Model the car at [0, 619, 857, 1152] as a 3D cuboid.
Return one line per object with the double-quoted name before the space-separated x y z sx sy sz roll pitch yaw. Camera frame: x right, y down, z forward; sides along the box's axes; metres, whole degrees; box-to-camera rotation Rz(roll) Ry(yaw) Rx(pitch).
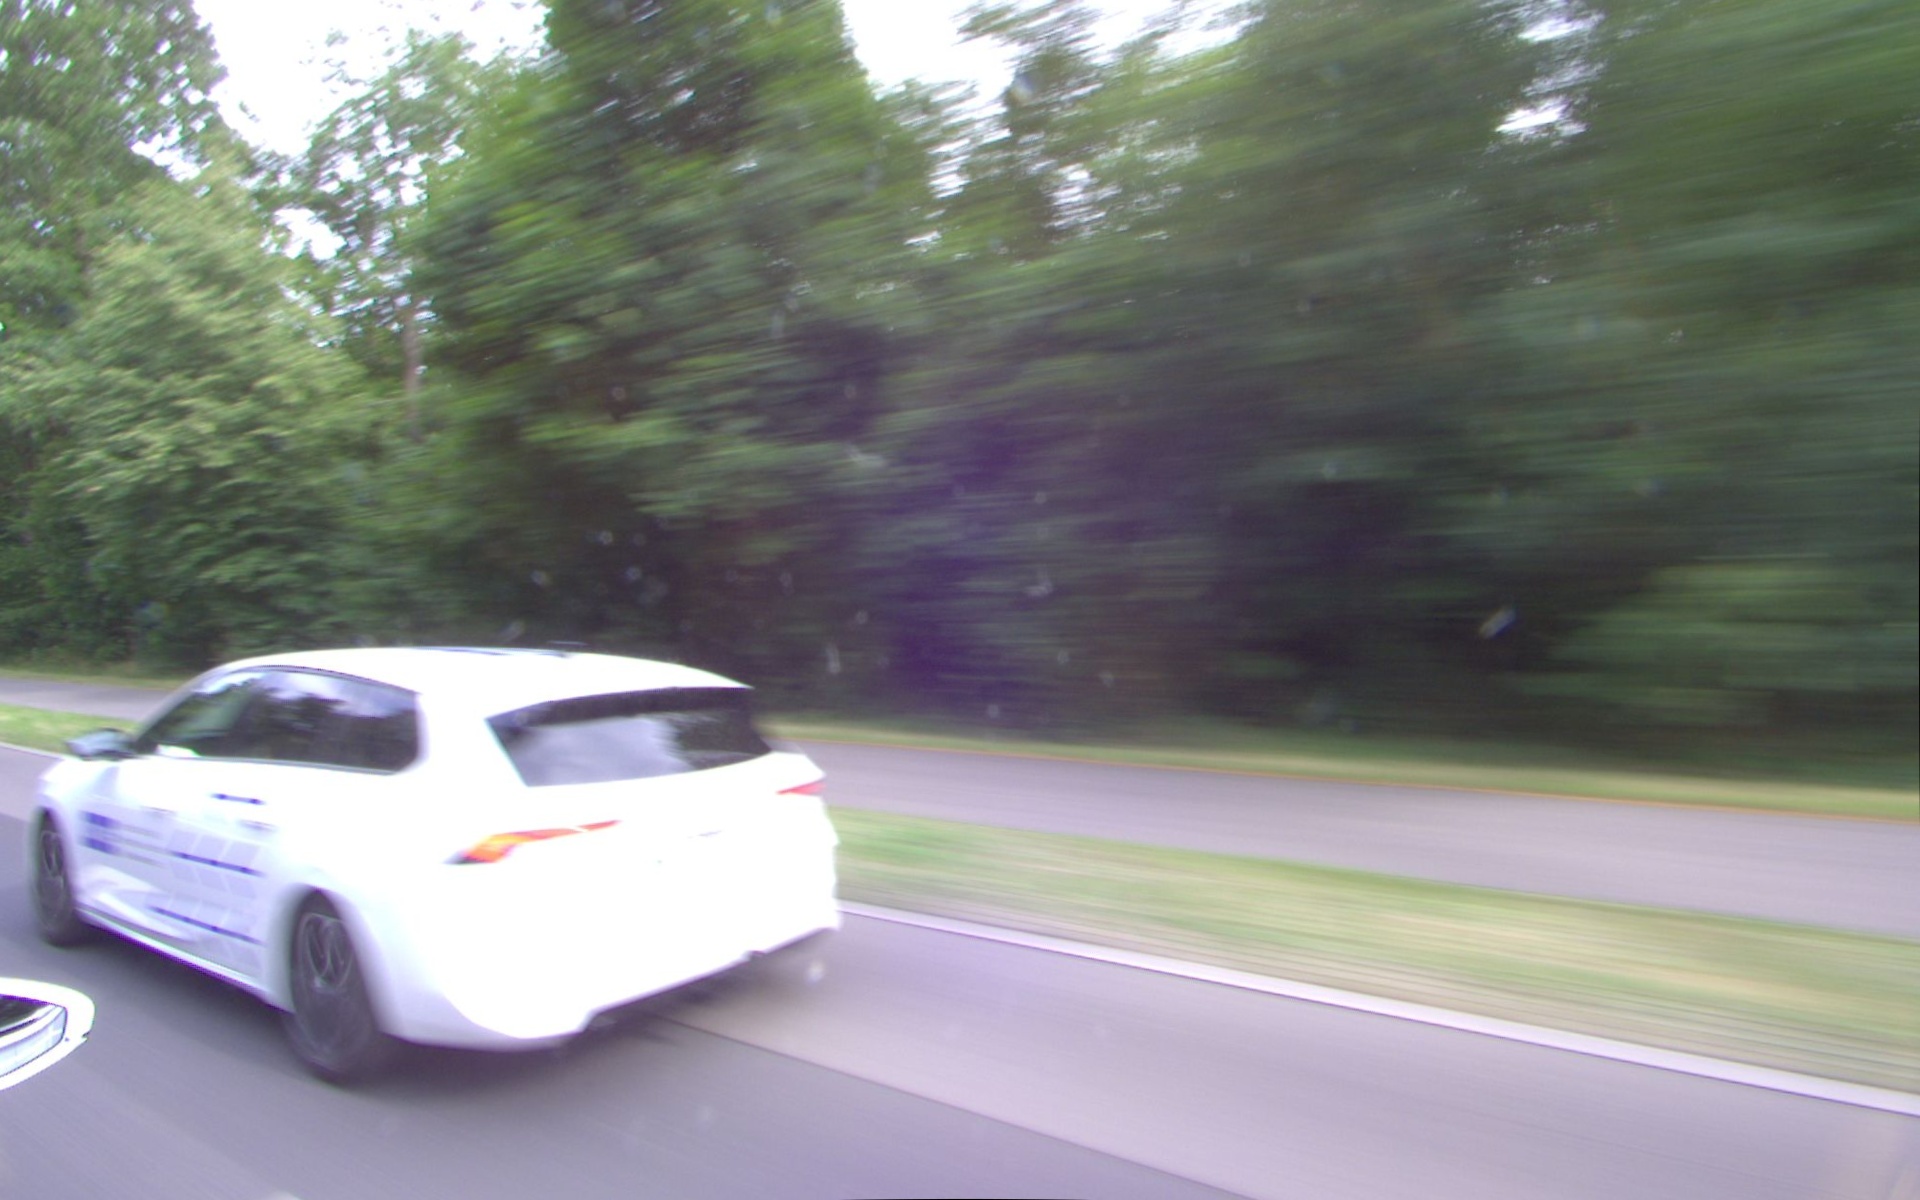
"car" -2.779 0.825 4.753 4.428 1.428 1.832 0 0 34
